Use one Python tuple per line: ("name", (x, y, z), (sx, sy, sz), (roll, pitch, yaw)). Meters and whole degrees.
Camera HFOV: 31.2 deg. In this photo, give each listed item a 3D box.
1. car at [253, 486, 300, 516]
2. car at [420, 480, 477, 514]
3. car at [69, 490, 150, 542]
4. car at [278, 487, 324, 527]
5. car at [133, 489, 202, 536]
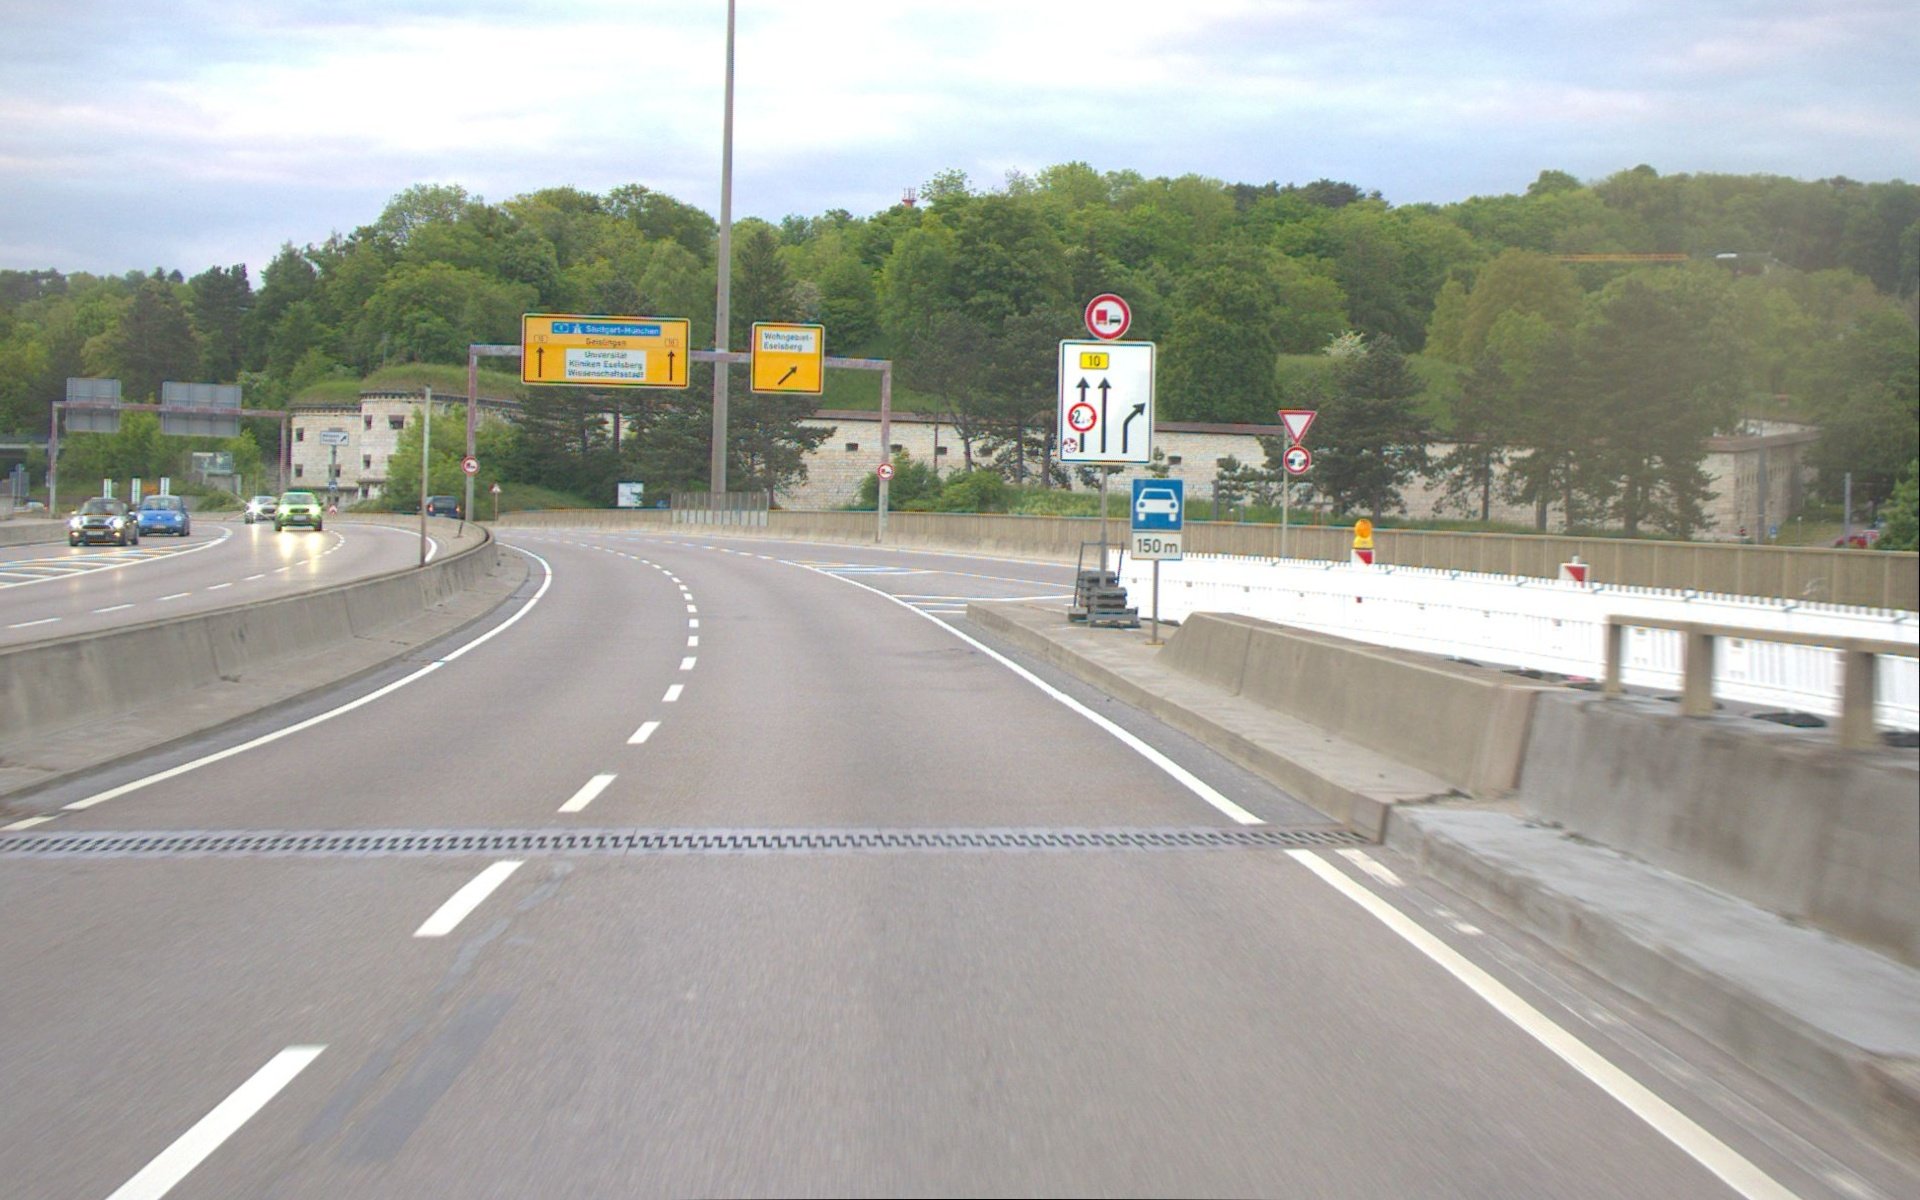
("car", (-36.755, -5.316, 184.793), (1.810, 1.529, 4.548), (1, 1, -19))
("car", (-28.139, -5.689, 189.085), (2.304, 1.757, 4.264), (2, 1, -19))
("car", (-25.725, -2.521, 104.108), (1.796, 1.481, 3.842), (1, 0, -5))
("car", (-26.218, -3.695, 136.786), (1.710, 1.489, 4.082), (2, 1, -11))
("car", (-28.237, -3.138, 122.623), (1.897, 1.590, 4.164), (0, 2, -6))
